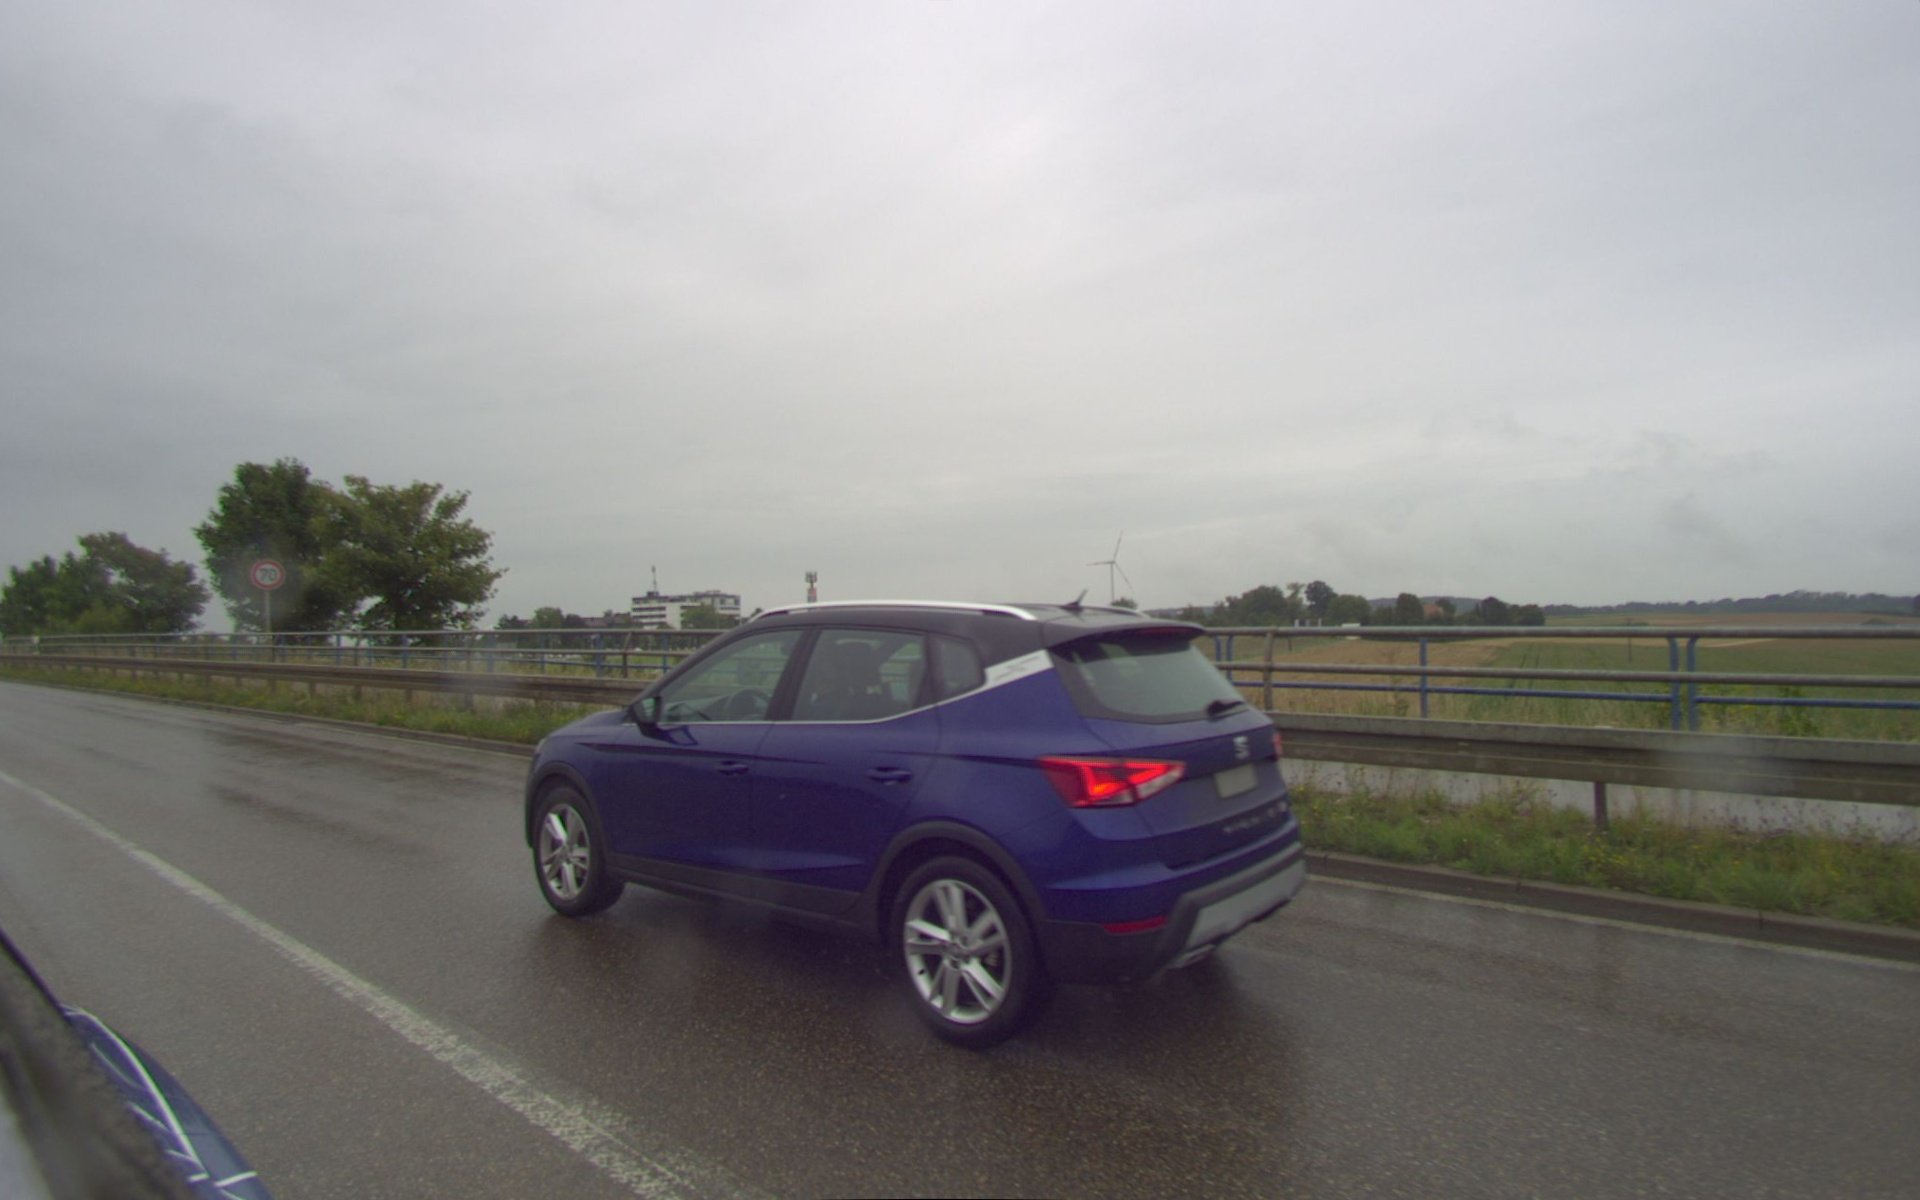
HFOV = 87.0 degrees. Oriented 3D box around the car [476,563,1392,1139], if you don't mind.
[{"bbox_3d":[-0.426,0.731,4.738,4.165,1.537,1.763,-2,-2,40],"label":"car"}]
